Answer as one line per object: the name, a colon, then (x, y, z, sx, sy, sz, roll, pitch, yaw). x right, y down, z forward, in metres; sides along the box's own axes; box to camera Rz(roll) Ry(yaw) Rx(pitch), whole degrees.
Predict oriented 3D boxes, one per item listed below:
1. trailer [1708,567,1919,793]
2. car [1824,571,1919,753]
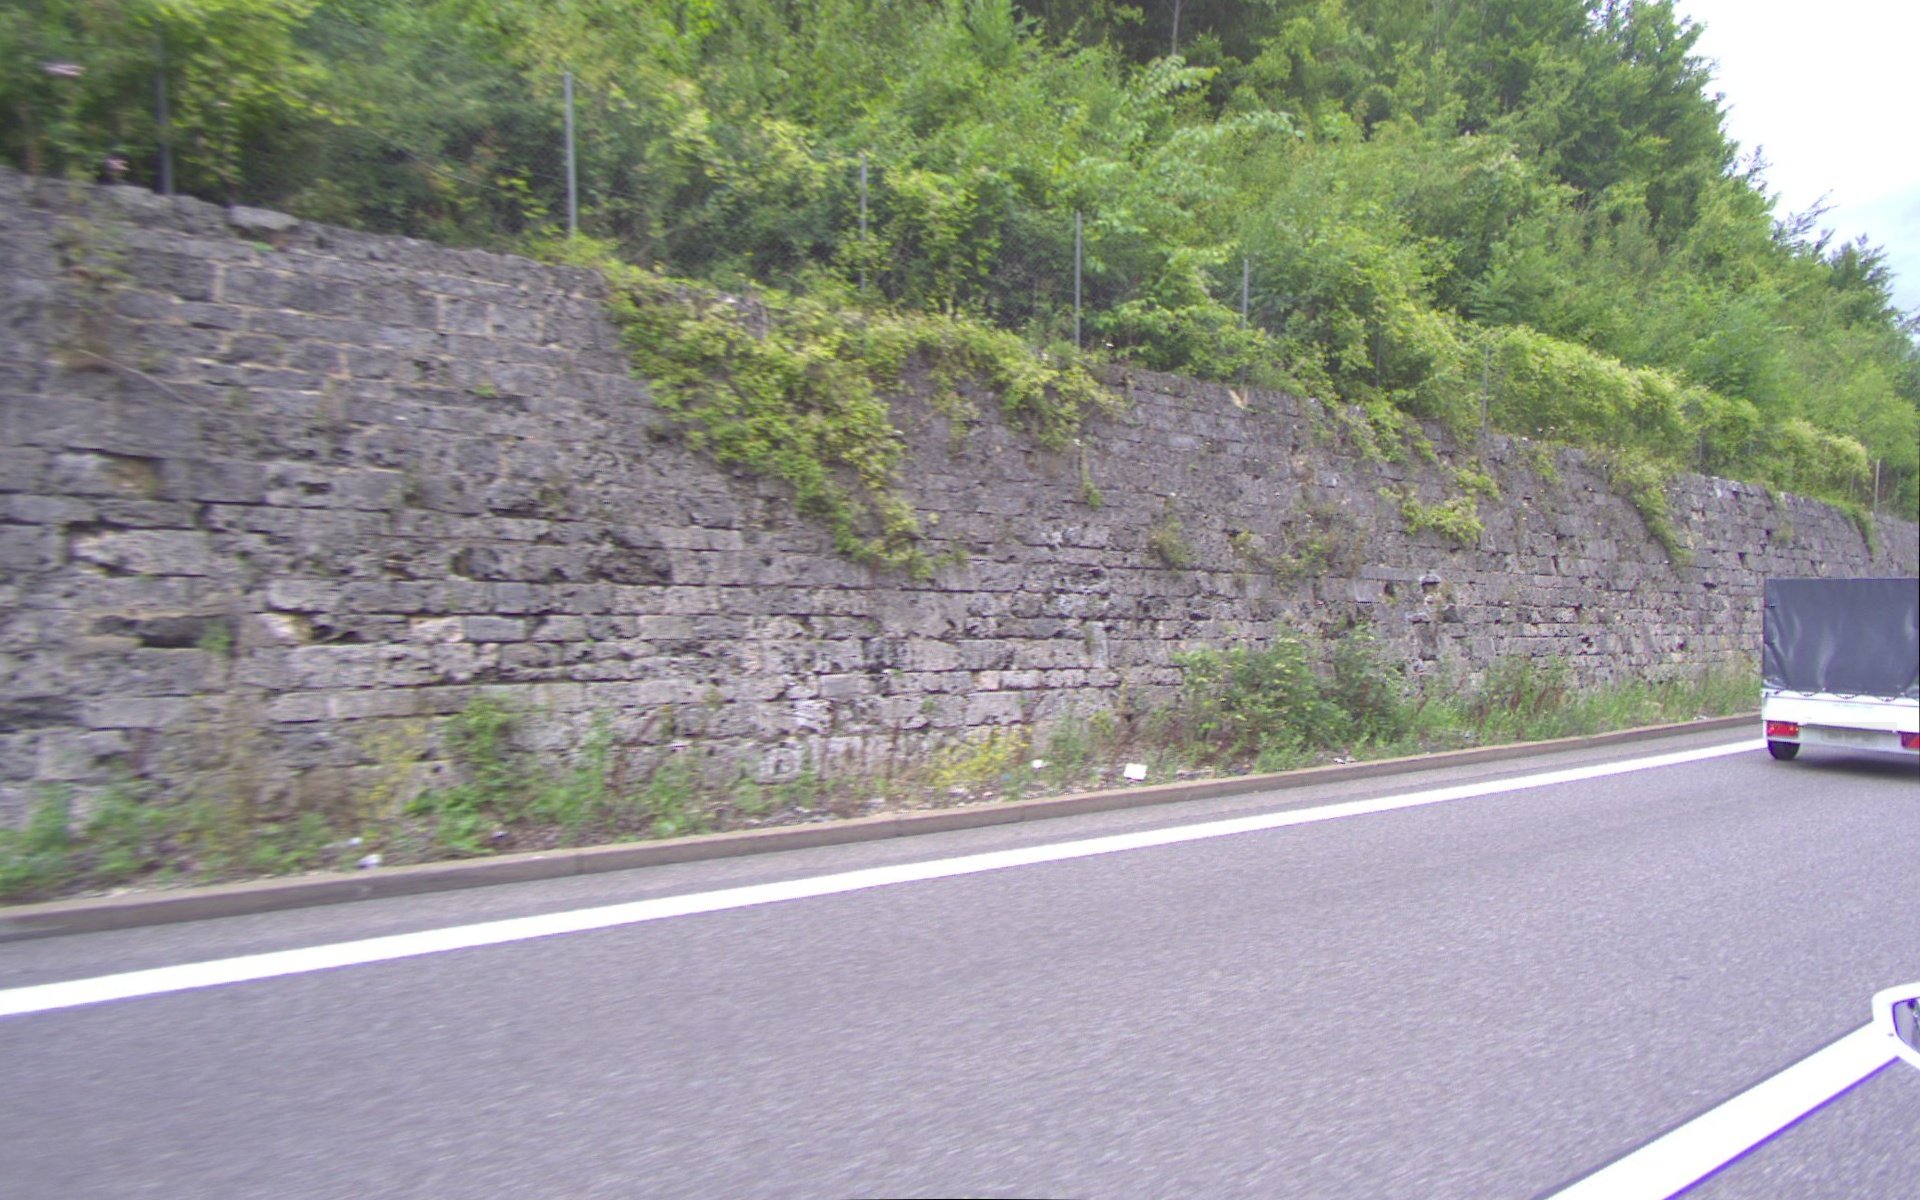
trailer: (9.448, 0.711, 10.185, 3.394, 1.965, 1.959, 1, 0, -33)
car: (13.090, 0.727, 12.618, 5.481, 2.040, 1.981, 1, 0, -34)
